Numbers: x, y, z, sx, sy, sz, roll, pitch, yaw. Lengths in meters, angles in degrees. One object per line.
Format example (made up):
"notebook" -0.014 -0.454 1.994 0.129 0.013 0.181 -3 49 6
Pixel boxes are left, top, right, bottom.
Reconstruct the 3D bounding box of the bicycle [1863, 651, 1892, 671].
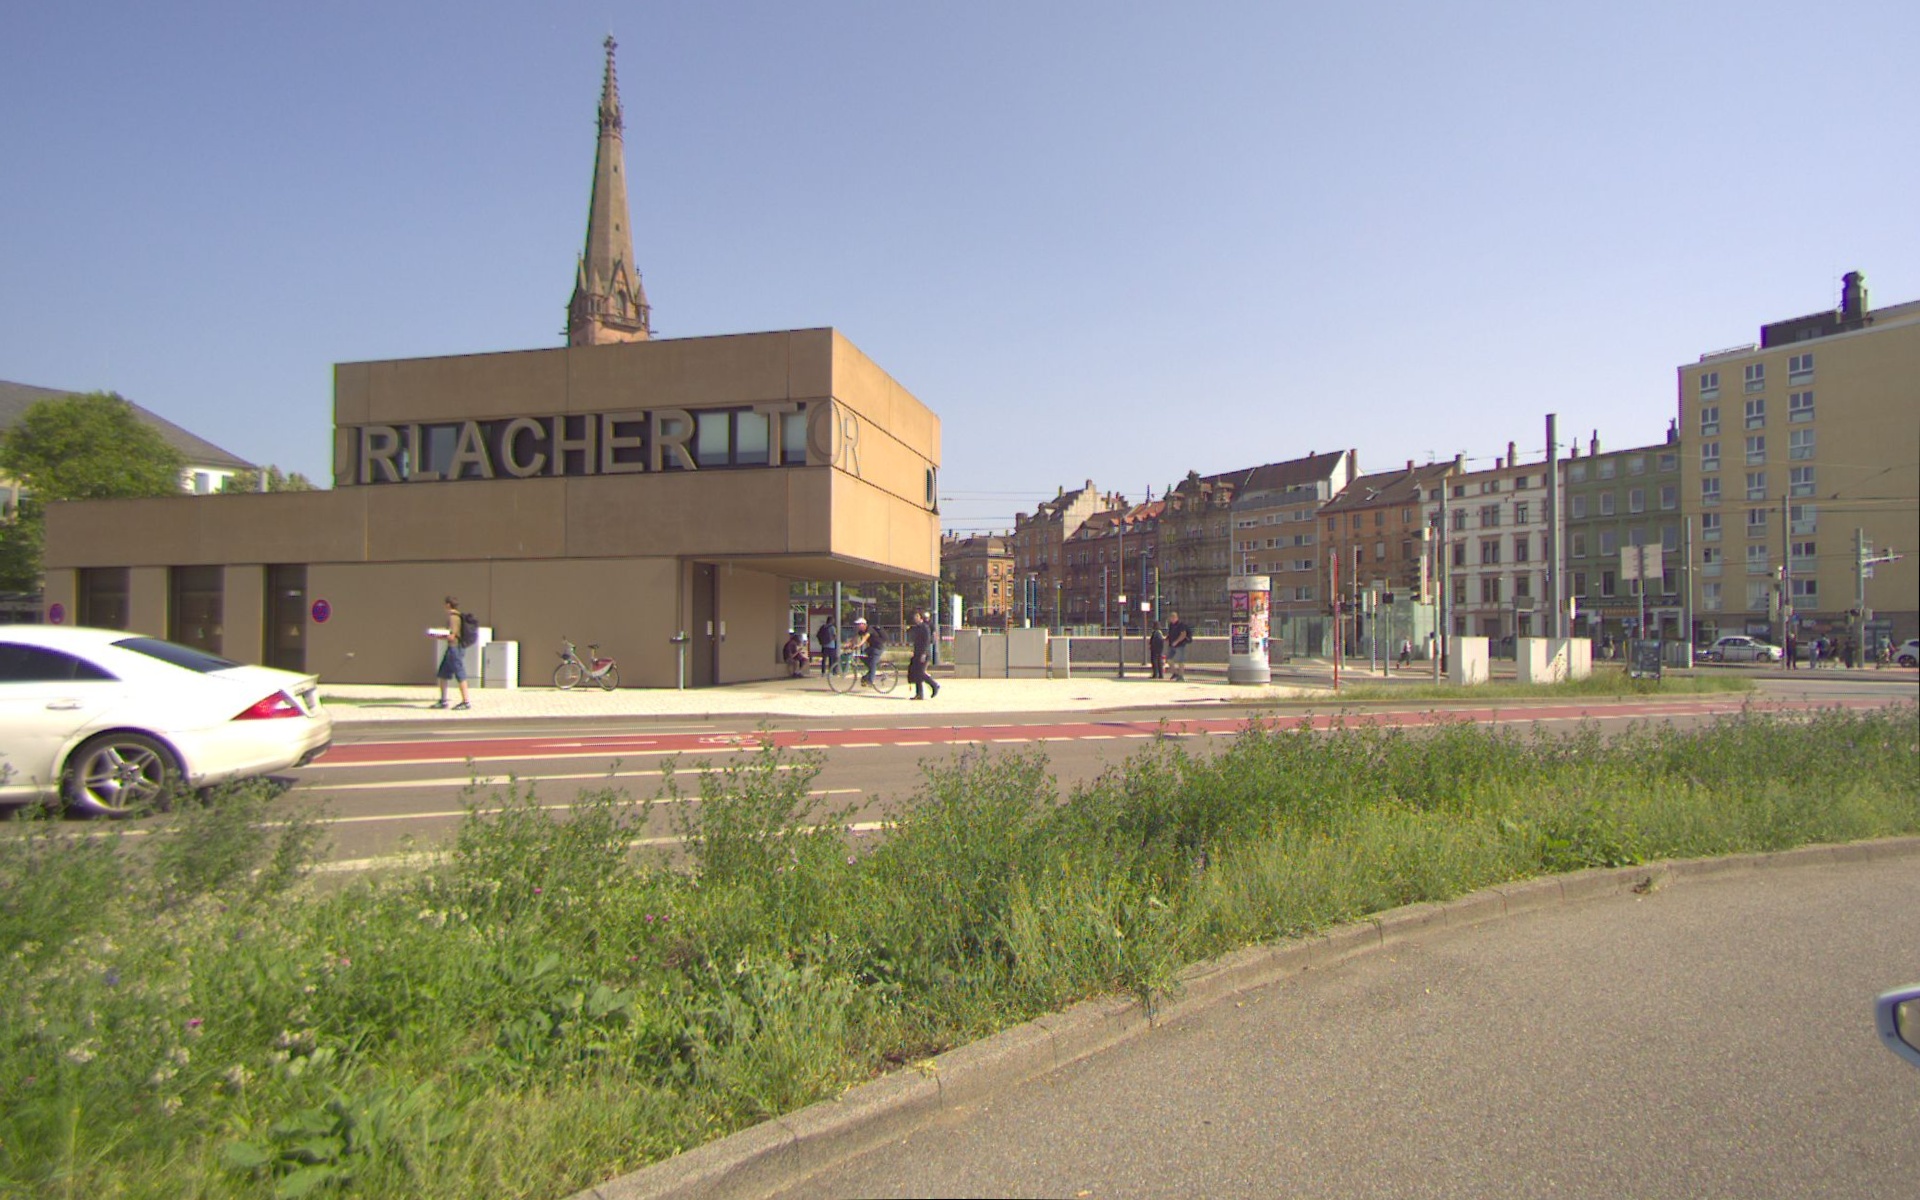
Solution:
"bicycle" 46.049 3.057 50.418 1.714 0.997 0.723 2 -2 -34

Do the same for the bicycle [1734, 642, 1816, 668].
"bicycle" 53.404 3.553 65.899 1.182 1.572 3.967 -2 -1 -31

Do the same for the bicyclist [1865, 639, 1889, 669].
"bicyclist" 46.018 2.712 50.406 0.683 1.453 0.721 1 -2 -34

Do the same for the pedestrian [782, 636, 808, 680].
"pedestrian" -4.526 1.596 27.621 0.513 1.187 0.596 0 -2 13

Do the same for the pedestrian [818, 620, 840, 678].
"pedestrian" -3.955 1.465 30.289 0.523 1.718 0.607 -2 0 0

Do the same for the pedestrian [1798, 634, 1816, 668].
"pedestrian" 44.064 2.648 52.279 0.538 1.707 0.454 -2 0 -18

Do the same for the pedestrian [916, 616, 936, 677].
"pedestrian" -1.033 1.409 30.559 0.547 1.843 0.392 -2 0 -4

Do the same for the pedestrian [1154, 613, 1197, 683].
"pedestrian" 5.877 1.293 27.439 0.879 1.843 0.881 -2 0 -5

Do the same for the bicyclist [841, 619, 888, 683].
"bicyclist" -2.112 1.125 22.273 0.871 1.380 0.560 1 0 -26

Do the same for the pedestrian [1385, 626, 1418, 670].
"pedestrian" 20.957 2.258 47.668 1.009 2.040 0.954 -2 0 -30

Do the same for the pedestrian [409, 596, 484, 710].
"pedestrian" -8.359 0.841 16.362 0.668 1.783 0.875 1 -1 39

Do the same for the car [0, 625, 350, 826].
"car" -7.636 0.901 7.749 4.752 1.379 1.837 2 -1 -24

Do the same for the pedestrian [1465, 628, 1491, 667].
"pedestrian" 25.265 2.321 48.997 0.847 1.810 0.772 -2 1 -33

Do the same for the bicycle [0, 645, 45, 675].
"bicycle" -33.010 2.084 35.187 1.837 1.022 0.462 -1 -2 15

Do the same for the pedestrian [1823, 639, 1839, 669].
"pedestrian" 45.544 2.830 52.522 0.489 1.507 0.440 -2 0 22

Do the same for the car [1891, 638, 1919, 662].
"car" 49.658 2.515 50.617 1.560 1.195 3.806 2 -2 -34

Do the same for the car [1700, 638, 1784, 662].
"car" 47.117 2.983 60.597 1.568 1.411 3.721 1 -2 -29

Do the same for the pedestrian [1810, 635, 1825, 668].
"pedestrian" 45.007 2.710 52.735 0.447 1.707 0.440 -2 0 22

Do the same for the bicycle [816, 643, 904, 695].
"bicycle" -2.210 1.524 22.220 1.827 1.078 0.560 3 -1 -26

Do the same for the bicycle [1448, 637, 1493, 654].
"bicycle" 42.992 3.805 84.650 0.765 1.366 3.512 -2 -1 -31

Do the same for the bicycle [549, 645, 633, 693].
"bicycle" -7.865 1.461 21.410 1.580 0.968 0.661 0 0 13

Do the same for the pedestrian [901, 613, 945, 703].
"pedestrian" -0.782 1.189 20.995 0.832 1.802 0.876 -2 0 -4

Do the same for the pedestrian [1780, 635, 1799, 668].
"pedestrian" 43.419 2.682 52.577 0.537 1.707 0.455 -2 0 -5

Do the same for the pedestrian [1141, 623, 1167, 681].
"pedestrian" 5.433 1.450 28.148 0.499 1.601 0.497 -2 0 -15
